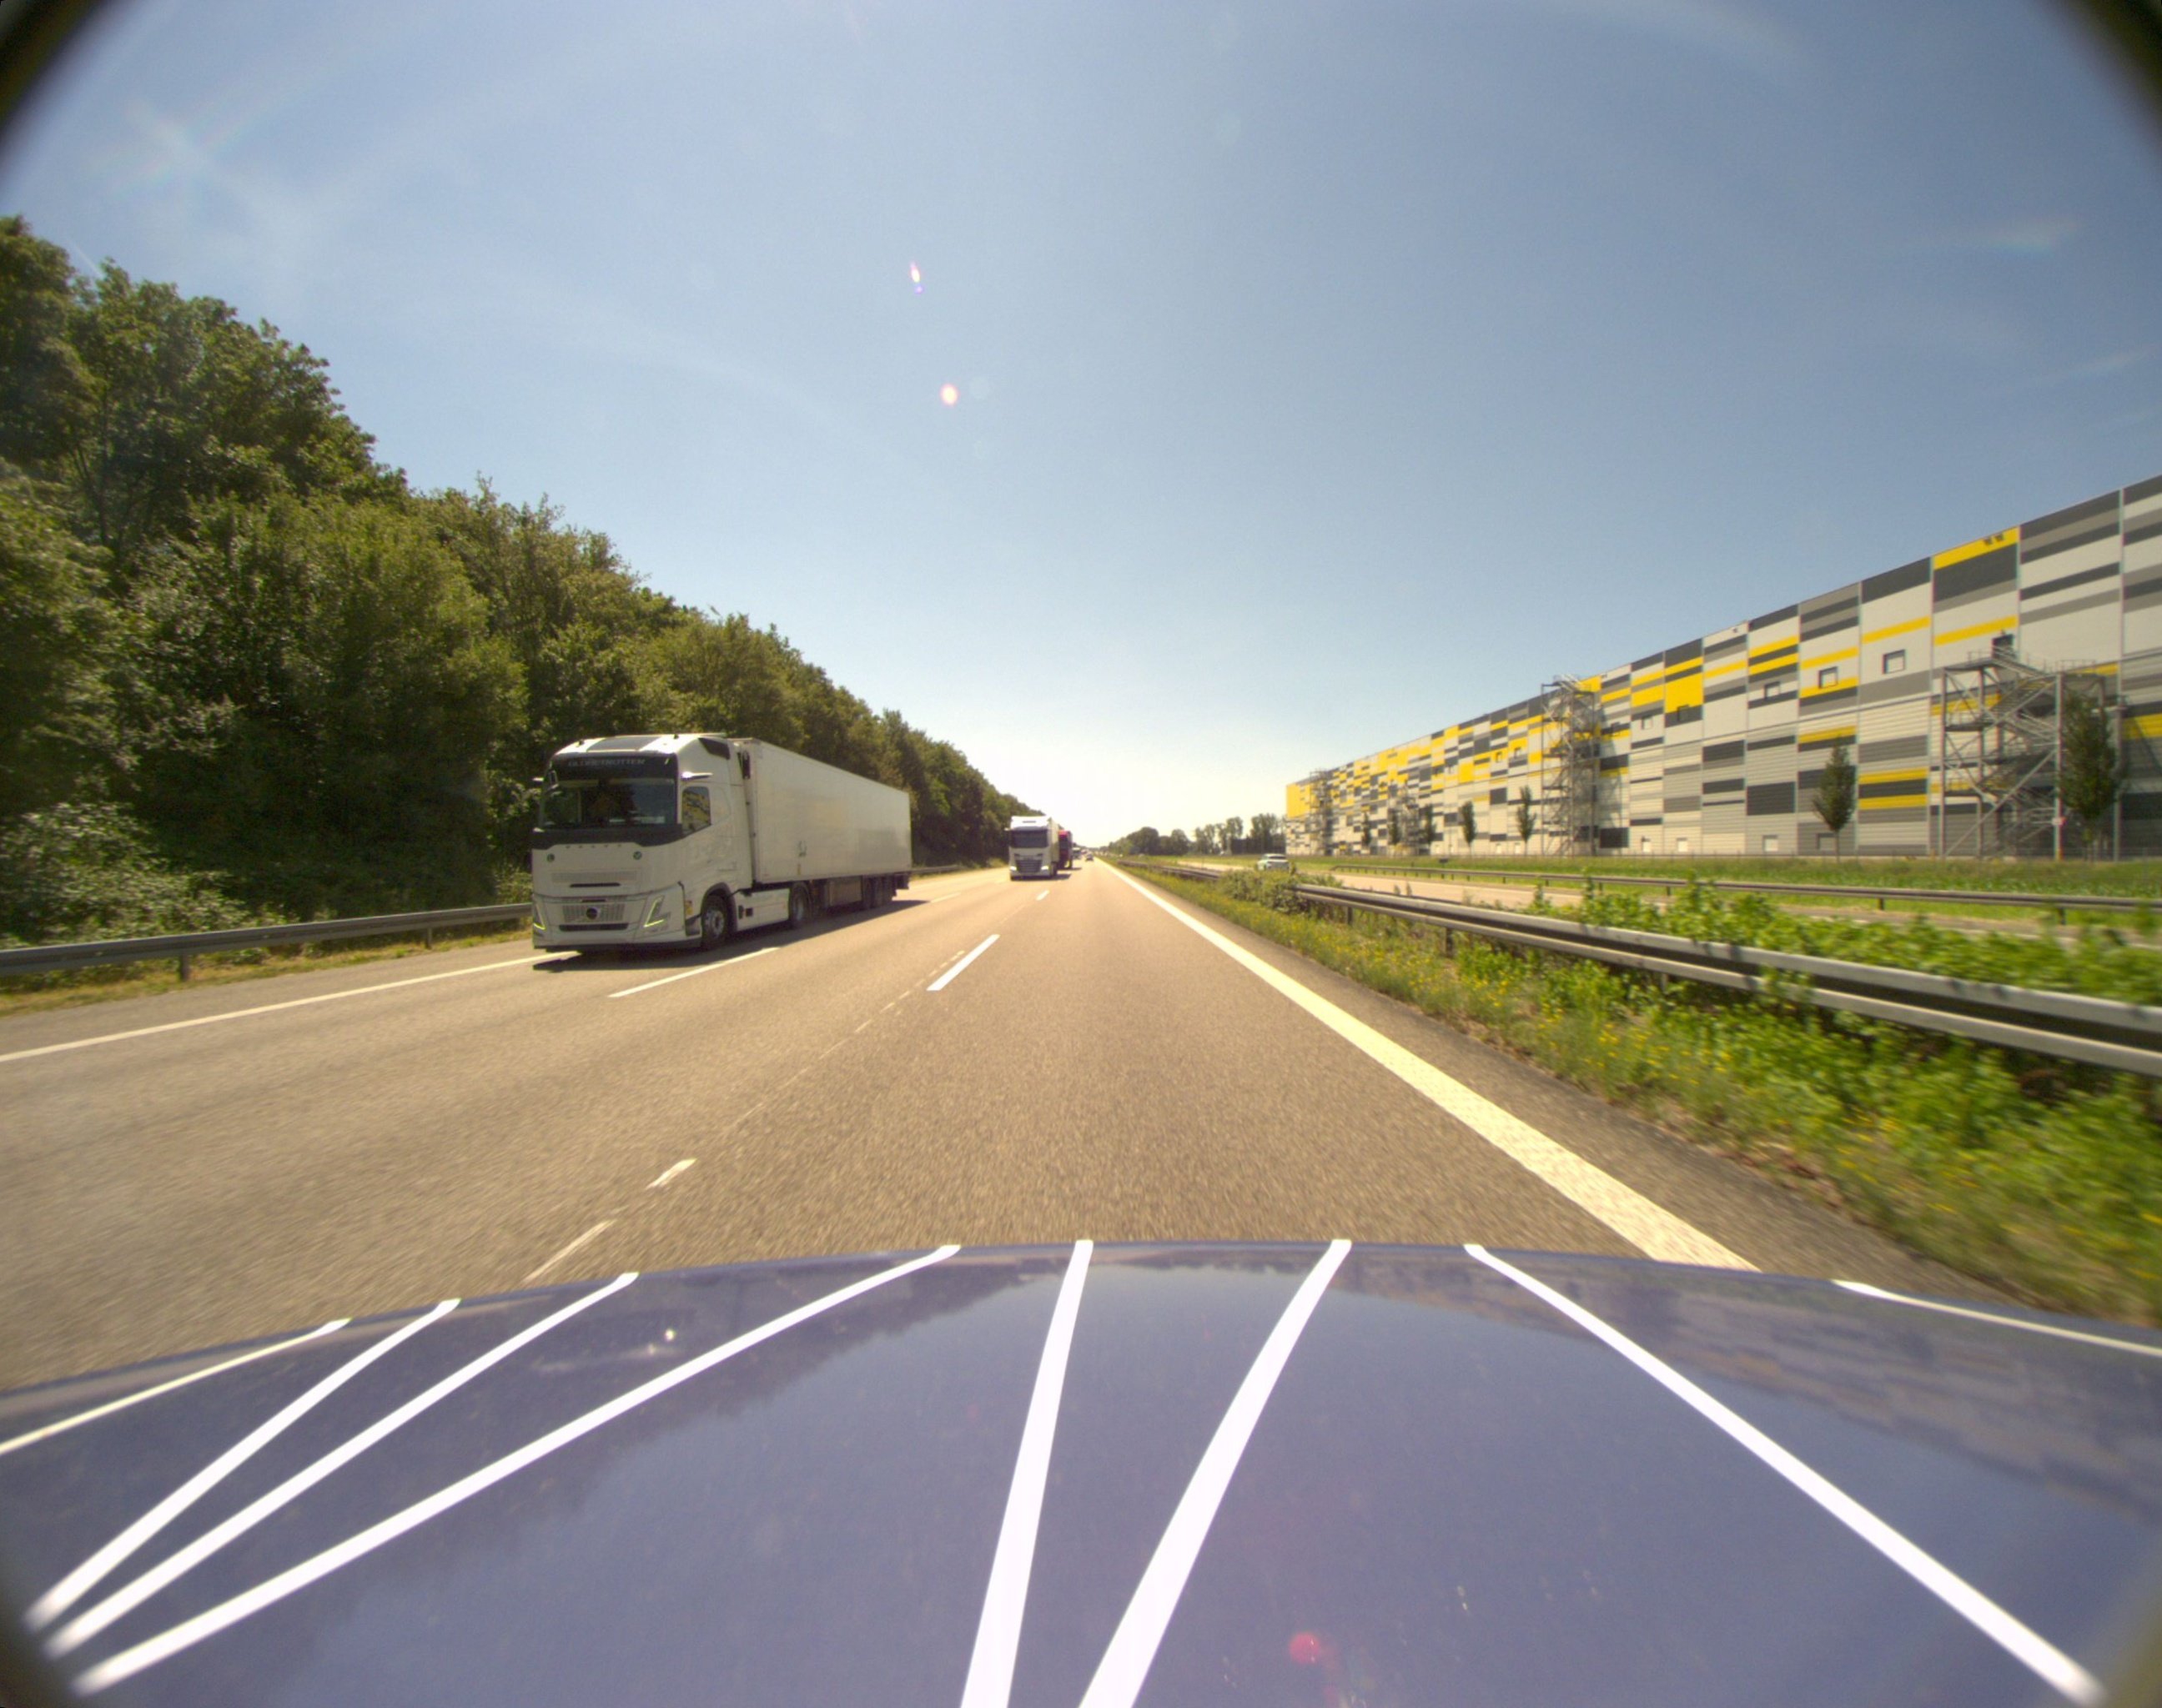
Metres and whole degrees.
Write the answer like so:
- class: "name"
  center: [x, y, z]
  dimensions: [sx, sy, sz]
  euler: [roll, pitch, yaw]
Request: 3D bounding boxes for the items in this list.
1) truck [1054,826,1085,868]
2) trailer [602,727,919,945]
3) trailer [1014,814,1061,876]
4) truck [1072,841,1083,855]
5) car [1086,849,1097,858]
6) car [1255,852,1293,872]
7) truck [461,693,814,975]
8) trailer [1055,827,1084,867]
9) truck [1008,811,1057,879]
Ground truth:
- class: "truck"
  center: [-1.187, -0.704, 76.934]
  dimensions: [2.870, 4.046, 5.770]
  euler: [-2, 0, -1]
- class: "trailer"
  center: [-7.763, -0.374, 21.826]
  dimensions: [3.047, 4.200, 13.834]
  euler: [-2, 0, 0]
- class: "trailer"
  center: [-3.063, -0.642, 57.685]
  dimensions: [2.684, 4.046, 13.834]
  euler: [-2, 0, 0]
- class: "truck"
  center: [-0.995, -1.827, 227.848]
  dimensions: [2.998, 4.046, 5.771]
  euler: [-2, 0, 0]
- class: "car"
  center: [2.251, -0.173, 160.971]
  dimensions: [2.073, 1.959, 5.109]
  euler: [0, 0, -1]
- class: "car"
  center: [14.744, 0.580, 58.368]
  dimensions: [1.812, 1.475, 4.416]
  euler: [2, 0, 1]
- class: "truck"
  center: [-7.806, -0.310, 14.581]
  dimensions: [3.055, 4.190, 6.048]
  euler: [-2, 0, 0]
- class: "trailer"
  center: [-1.319, -0.730, 84.630]
  dimensions: [2.885, 4.046, 13.833]
  euler: [-2, 0, -1]
- class: "truck"
  center: [-3.057, -0.549, 49.409]
  dimensions: [2.684, 4.046, 6.048]
  euler: [-2, 0, 0]
